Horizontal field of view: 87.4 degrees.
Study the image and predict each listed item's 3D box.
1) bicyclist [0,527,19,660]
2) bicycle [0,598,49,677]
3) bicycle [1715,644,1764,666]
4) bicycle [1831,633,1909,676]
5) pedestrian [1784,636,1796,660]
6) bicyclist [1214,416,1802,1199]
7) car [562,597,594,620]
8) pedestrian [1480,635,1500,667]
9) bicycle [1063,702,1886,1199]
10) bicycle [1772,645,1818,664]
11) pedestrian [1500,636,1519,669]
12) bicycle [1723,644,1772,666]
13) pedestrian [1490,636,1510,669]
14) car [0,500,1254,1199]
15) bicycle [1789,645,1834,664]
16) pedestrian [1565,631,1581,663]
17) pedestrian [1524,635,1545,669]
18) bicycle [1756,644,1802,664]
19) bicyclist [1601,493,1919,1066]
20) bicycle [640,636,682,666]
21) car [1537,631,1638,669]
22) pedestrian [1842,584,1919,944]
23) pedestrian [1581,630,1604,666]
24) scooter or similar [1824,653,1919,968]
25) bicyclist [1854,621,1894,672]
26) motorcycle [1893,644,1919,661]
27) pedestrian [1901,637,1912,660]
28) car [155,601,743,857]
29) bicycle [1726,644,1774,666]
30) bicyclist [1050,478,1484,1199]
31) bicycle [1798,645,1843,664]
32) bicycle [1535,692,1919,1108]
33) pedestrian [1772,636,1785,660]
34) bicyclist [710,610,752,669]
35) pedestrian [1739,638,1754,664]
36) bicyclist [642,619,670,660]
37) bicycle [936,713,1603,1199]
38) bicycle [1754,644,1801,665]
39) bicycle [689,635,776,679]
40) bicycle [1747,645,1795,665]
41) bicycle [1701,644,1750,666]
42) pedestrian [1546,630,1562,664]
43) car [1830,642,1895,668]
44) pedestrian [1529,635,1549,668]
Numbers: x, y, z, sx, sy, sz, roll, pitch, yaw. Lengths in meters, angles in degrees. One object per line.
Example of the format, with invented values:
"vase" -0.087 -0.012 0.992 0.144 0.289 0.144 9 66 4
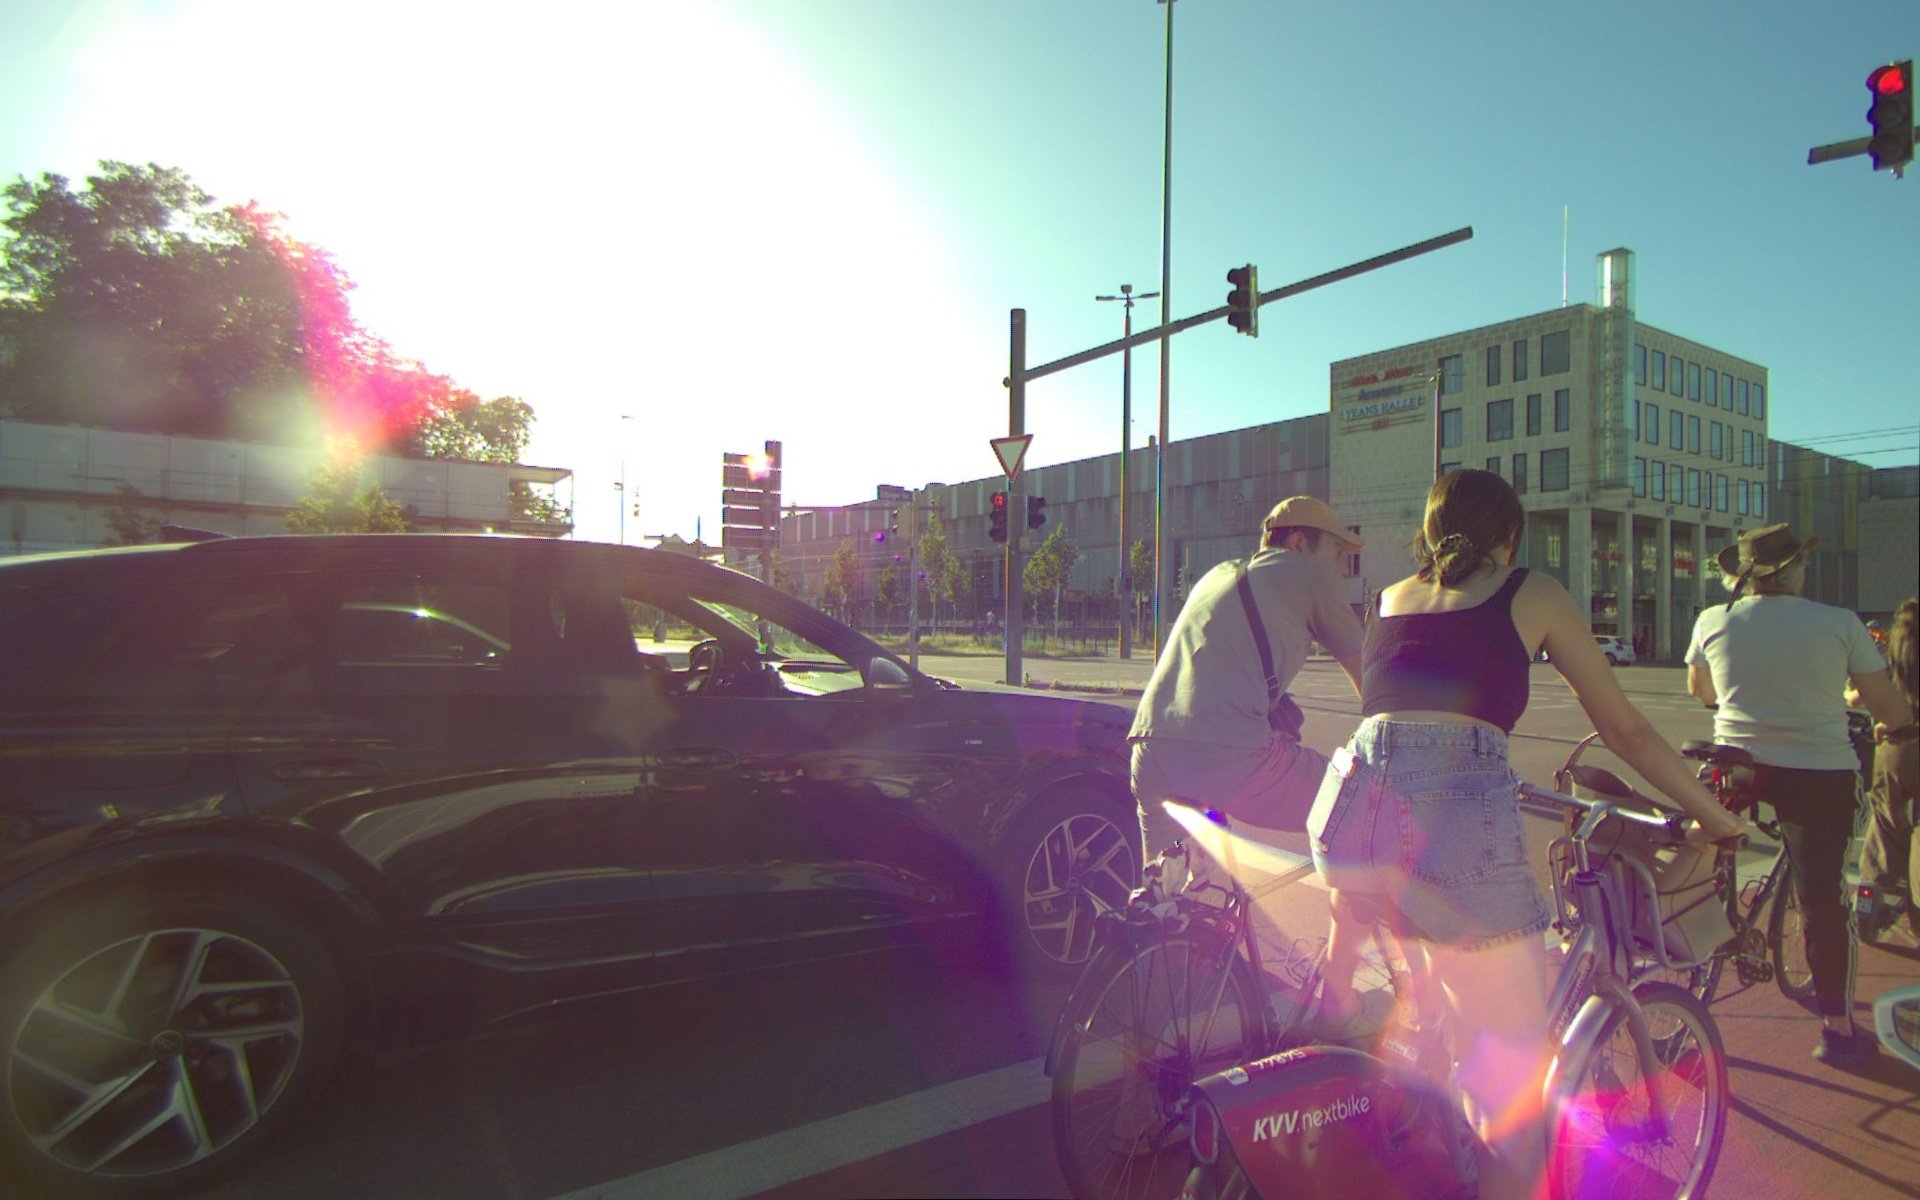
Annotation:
"bicyclist" -23.313 -0.164 23.780 1.292 3.144 0.835 2 0 -32
"bicycle" -23.580 0.883 23.626 3.047 1.835 0.835 0 1 -32
"bicycle" 46.964 3.325 60.528 0.605 1.238 2.295 1 -1 -31
"bicycle" 26.922 1.607 29.743 1.618 1.170 0.497 2 0 23
"pedestrian" 59.549 3.445 72.073 0.602 1.702 0.549 1 0 -40
"bicyclist" 1.046 0.542 1.942 0.866 1.600 0.638 1 0 -33
"car" -32.936 0.729 86.515 1.785 1.908 3.964 2 0 -33
"pedestrian" 32.388 3.109 61.391 0.710 1.910 0.779 2 0 -36
"bicycle" 1.105 0.881 1.983 1.811 1.234 0.612 1 0 -33
"bicycle" 55.519 3.616 66.830 0.605 1.238 2.295 1 -1 -31
"pedestrian" 33.224 3.164 60.690 0.780 1.910 0.709 2 0 -37
"bicycle" 48.047 3.362 61.339 0.605 1.238 2.295 1 -1 -31
"pedestrian" 32.162 3.128 59.869 0.710 1.910 0.779 2 0 -36
"car" -1.155 0.631 3.872 4.630 1.656 1.760 1 0 -32
"bicycle" 58.852 3.730 69.429 0.605 1.238 2.295 1 -1 -31
"pedestrian" 35.630 2.728 58.425 0.784 1.868 0.862 0 -1 32
"pedestrian" 33.397 3.005 58.378 0.710 1.910 0.779 2 0 -36
"bicycle" 54.281 3.577 66.567 0.605 1.238 2.295 1 -1 -31
"bicyclist" 2.868 0.555 3.555 0.856 1.743 0.657 2 0 -30
"bicycle" -15.172 2.558 50.919 0.962 1.388 2.930 2 0 -40
"car" 30.644 2.422 49.135 1.643 1.606 3.871 2 0 -36
"pedestrian" 4.632 0.760 4.808 0.568 1.654 0.543 2 0 -45
"pedestrian" 36.976 2.810 58.729 0.767 2.040 0.876 2 0 -41
"scooter or similar" 4.491 0.924 4.716 1.186 1.311 0.541 2 0 -45
"bicyclist" 27.015 1.358 29.695 0.700 1.456 0.497 2 0 23
"motorcycle" 70.739 3.903 74.855 0.508 1.223 1.786 1 0 -44
"pedestrian" 71.098 3.666 75.455 0.579 1.702 0.516 1 1 -43
"car" -3.587 0.788 7.498 3.562 1.505 1.485 1 0 -30
"bicycle" 48.697 3.385 61.960 0.605 1.238 2.295 1 -1 -31
"bicyclist" 0.802 0.558 2.676 0.833 1.627 0.712 1 0 -32
"bicycle" 59.824 3.762 69.853 0.605 1.238 2.295 1 -1 -31
"bicycle" 2.878 0.960 3.681 1.810 1.171 0.482 2 0 -31
"pedestrian" 59.103 3.448 72.550 0.610 1.702 0.565 1 0 -39
"bicyclist" -8.249 1.399 36.192 1.078 2.040 0.961 2 0 15
"pedestrian" 53.886 3.476 68.830 0.638 1.742 0.450 1 -1 -7
"bicyclist" -15.541 2.021 51.386 0.985 2.040 1.088 2 0 -40
"bicycle" 0.939 0.952 2.772 1.949 1.124 0.643 1 0 -33
"bicycle" 52.901 3.528 65.019 0.605 1.238 2.295 1 -1 -31
"bicycle" -8.196 2.036 36.187 2.905 1.388 0.970 2 0 16
"bicycle" 51.277 3.471 63.551 0.605 1.238 2.295 1 -1 -31
"bicycle" 45.762 3.286 60.084 0.605 1.238 2.295 1 -1 -31
"pedestrian" 34.201 2.675 57.801 0.705 1.910 0.785 2 0 33
"car" 49.783 3.060 55.410 3.956 1.359 1.621 2 -4 -32
"pedestrian" 34.407 3.043 59.690 0.710 1.910 0.779 2 0 -36
